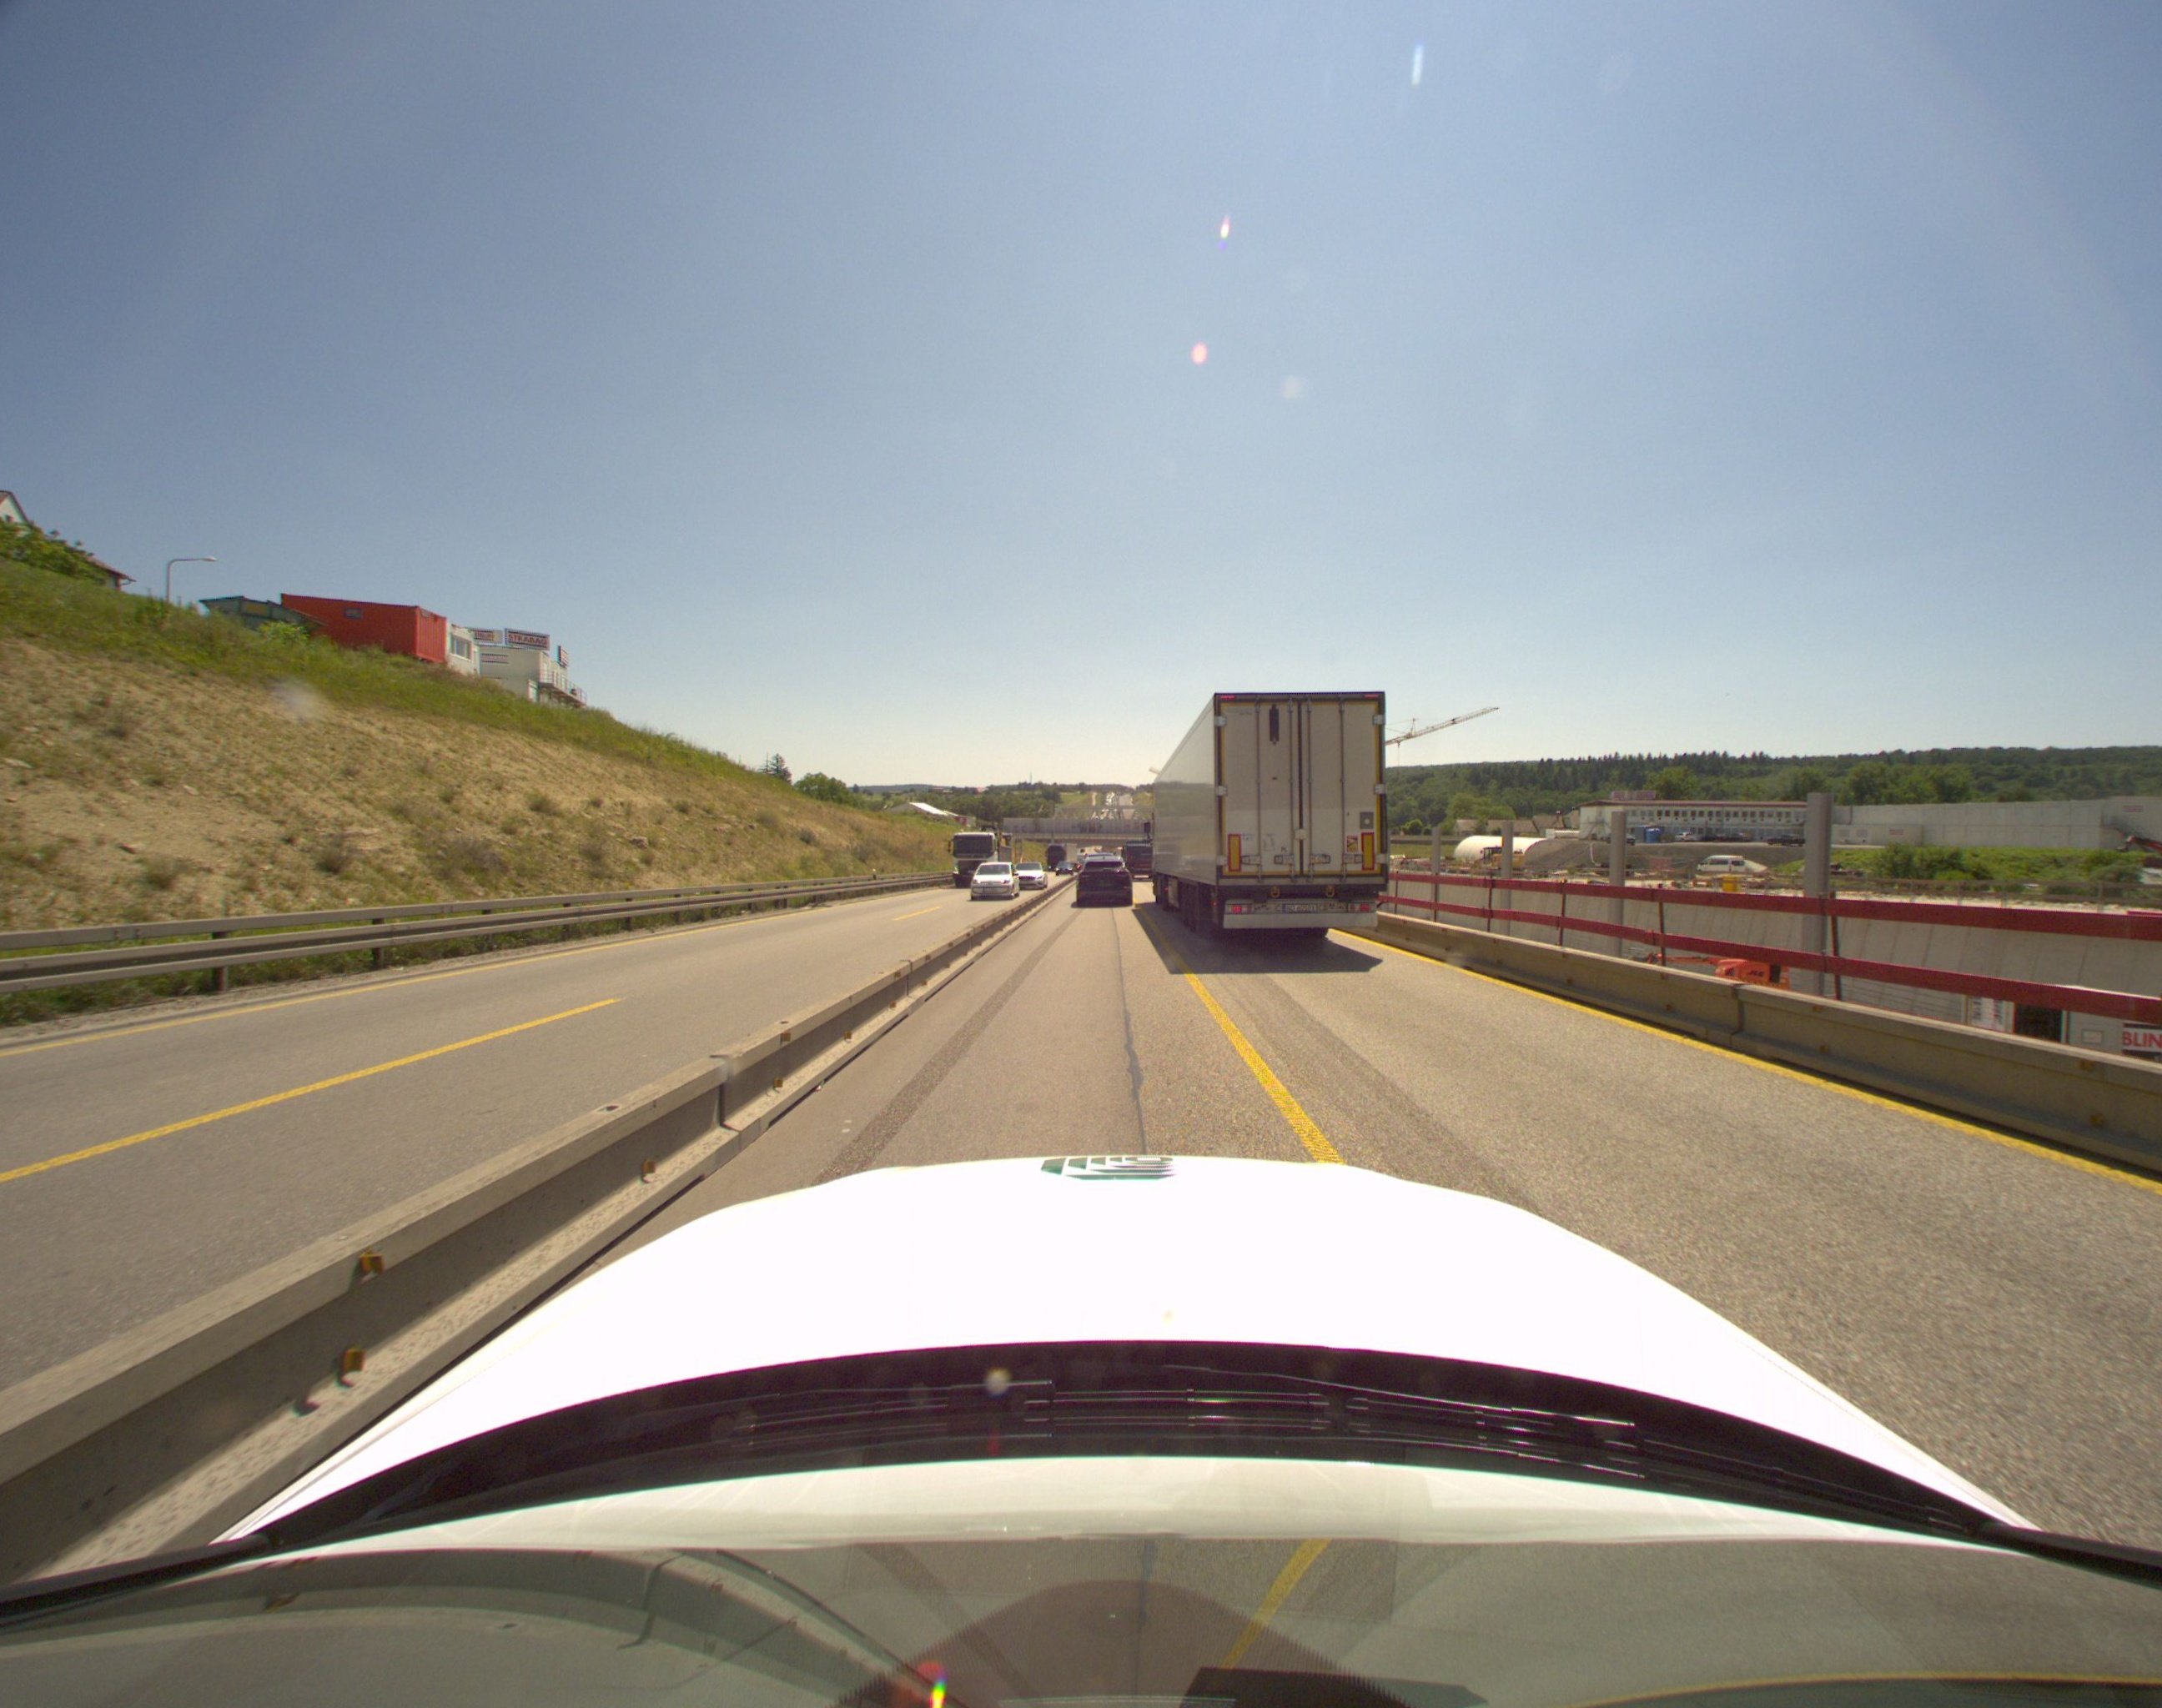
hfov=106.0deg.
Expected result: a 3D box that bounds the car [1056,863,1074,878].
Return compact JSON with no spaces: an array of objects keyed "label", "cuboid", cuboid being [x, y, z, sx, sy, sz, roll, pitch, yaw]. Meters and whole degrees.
[{"label":"car","cuboid":[-1.618,1.631,81.395,1.683,1.403,3.686,-1,-1,0]}]

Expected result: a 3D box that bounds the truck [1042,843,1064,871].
[{"label":"truck","cuboid":[-3.918,0.454,115.766,2.757,3.884,4.965,0,-1,2]}]

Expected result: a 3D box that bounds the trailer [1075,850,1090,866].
[{"label":"trailer","cuboid":[0.296,0.769,147.351,2.259,2.882,13.047,-1,-1,2]}]

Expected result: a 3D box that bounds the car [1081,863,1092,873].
[{"label":"car","cuboid":[0.863,2.053,121.773,1.584,1.487,3.296,-1,-1,2]}]

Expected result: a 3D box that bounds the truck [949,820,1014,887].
[{"label":"truck","cuboid":[-5.949,-0.018,50.437,2.577,3.723,9.335,-1,0,2]}]

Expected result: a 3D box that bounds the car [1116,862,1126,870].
[{"label":"car","cuboid":[6.551,1.990,134.256,1.534,1.206,3.310,-1,0,-1]}]

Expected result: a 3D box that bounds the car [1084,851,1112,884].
[{"label":"car","cuboid":[1.008,0.757,47.352,1.469,1.795,3.299,-2,-1,2]}]

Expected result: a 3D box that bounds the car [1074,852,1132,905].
[{"label":"car","cuboid":[0.741,0.773,27.050,1.794,1.620,3.299,-1,0,2]}]

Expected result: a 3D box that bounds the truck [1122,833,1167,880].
[{"label":"truck","cuboid":[4.563,0.209,60.727,2.803,3.135,12.844,-1,0,2]}]

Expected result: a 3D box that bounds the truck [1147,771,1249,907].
[{"label":"truck","cuboid":[3.720,-0.442,26.951,2.766,4.058,4.906,-1,-1,1]}]

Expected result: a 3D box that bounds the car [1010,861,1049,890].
[{"label":"car","cuboid":[-2.634,1.088,42.538,1.679,1.430,4.122,-1,0,1]}]

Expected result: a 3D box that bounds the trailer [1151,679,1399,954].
[{"label":"trailer","cuboid":[3.475,-0.488,19.145,2.791,4.058,14.120,-1,-1,2]}]

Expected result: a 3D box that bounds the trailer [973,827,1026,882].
[{"label":"trailer","cuboid":[-5.730,0.068,58.402,2.577,3.637,9.081,-1,0,2]}]

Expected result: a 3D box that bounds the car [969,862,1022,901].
[{"label":"car","cuboid":[-3.323,1.054,32.168,1.679,1.430,3.292,-1,0,0]}]

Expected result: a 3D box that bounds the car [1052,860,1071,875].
[{"label":"car","cuboid":[-1.934,1.339,81.035,1.679,1.430,3.850,-1,0,1]}]

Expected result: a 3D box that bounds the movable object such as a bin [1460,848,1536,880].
[{"label":"movable object such as a bin","cuboid":[40.359,0.916,79.280,2.876,2.909,9.484,0,0,2]}]

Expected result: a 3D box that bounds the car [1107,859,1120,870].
[{"label":"car","cuboid":[3.947,1.311,99.122,1.486,1.330,3.244,1,-1,0]}]

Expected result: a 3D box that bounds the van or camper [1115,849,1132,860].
[{"label":"van or camper","cuboid":[13.216,0.036,254.423,3.942,3.419,8.380,0,0,-9]}]
